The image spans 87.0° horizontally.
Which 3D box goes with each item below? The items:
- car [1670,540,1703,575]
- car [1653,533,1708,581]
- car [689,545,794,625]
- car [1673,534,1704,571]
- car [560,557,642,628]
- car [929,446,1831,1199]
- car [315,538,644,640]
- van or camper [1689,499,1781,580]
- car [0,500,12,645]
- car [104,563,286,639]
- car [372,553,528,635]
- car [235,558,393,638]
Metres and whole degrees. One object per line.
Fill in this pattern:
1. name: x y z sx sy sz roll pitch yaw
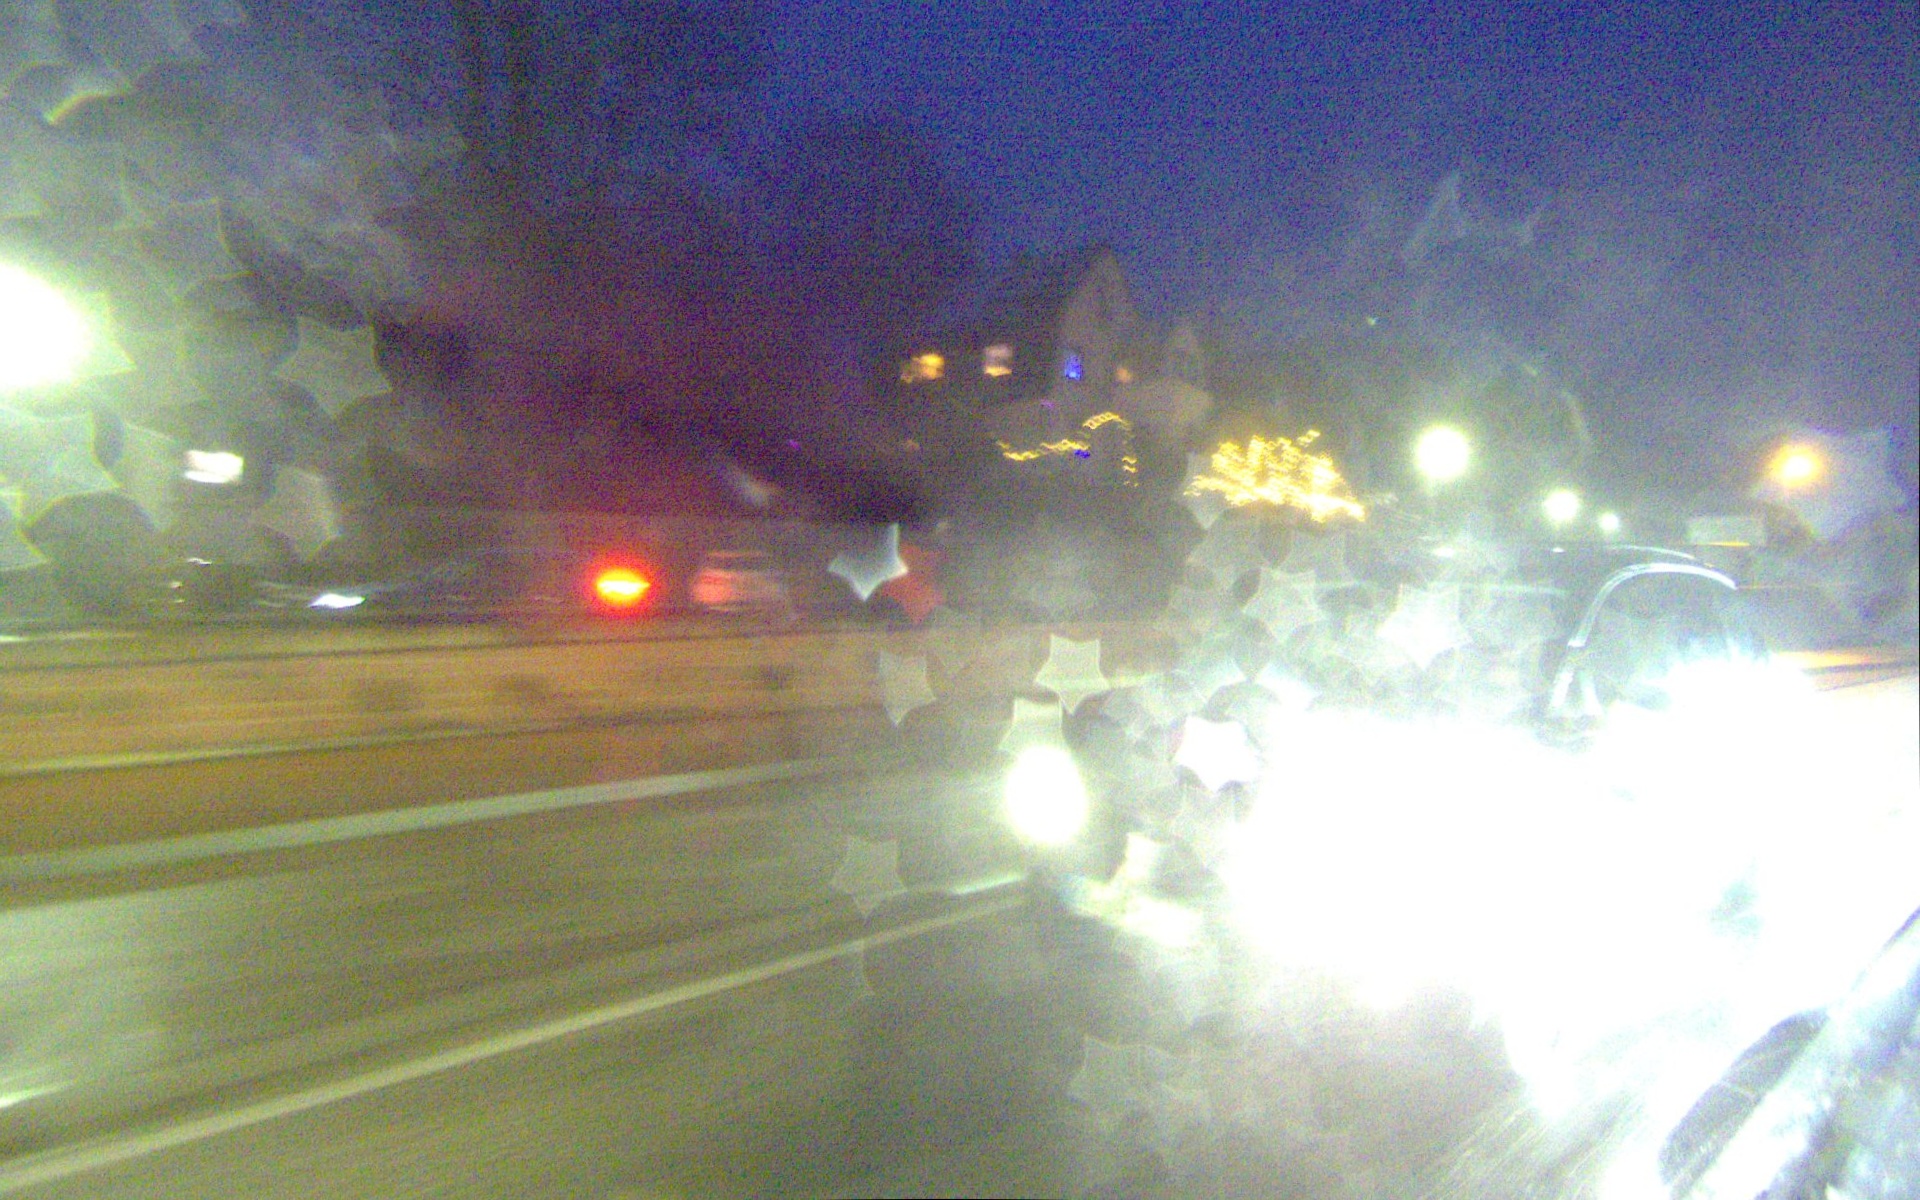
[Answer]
1. car: 54.329 -3.136 75.677 1.924 2.451 4.200 0 0 36
2. car: 32.750 -1.902 46.009 1.988 2.039 3.948 0 0 36
3. car: -4.646 -0.297 21.108 1.727 1.505 3.956 0 0 -18
4. car: 57.529 -3.720 79.962 1.924 2.809 4.200 0 0 36
5. car: -7.225 -0.160 20.529 1.442 1.307 3.515 0 0 -18
6. car: 2.314 0.495 4.637 4.854 1.757 1.838 -1 0 -41
7. car: -7.553 -0.184 16.393 4.607 1.502 1.730 0 0 -18
8. van or camper: 29.908 -2.209 39.232 2.398 2.828 5.704 0 0 33
9. car: -10.330 -0.257 8.133 1.814 1.478 4.348 0 0 -9
10. car: -14.654 -0.005 19.647 1.625 1.300 4.008 0 0 -18
11. car: -9.861 -0.127 19.904 1.806 1.448 4.008 0 0 -12
12. car: -12.526 -0.060 19.885 1.692 1.401 4.008 0 0 -18
